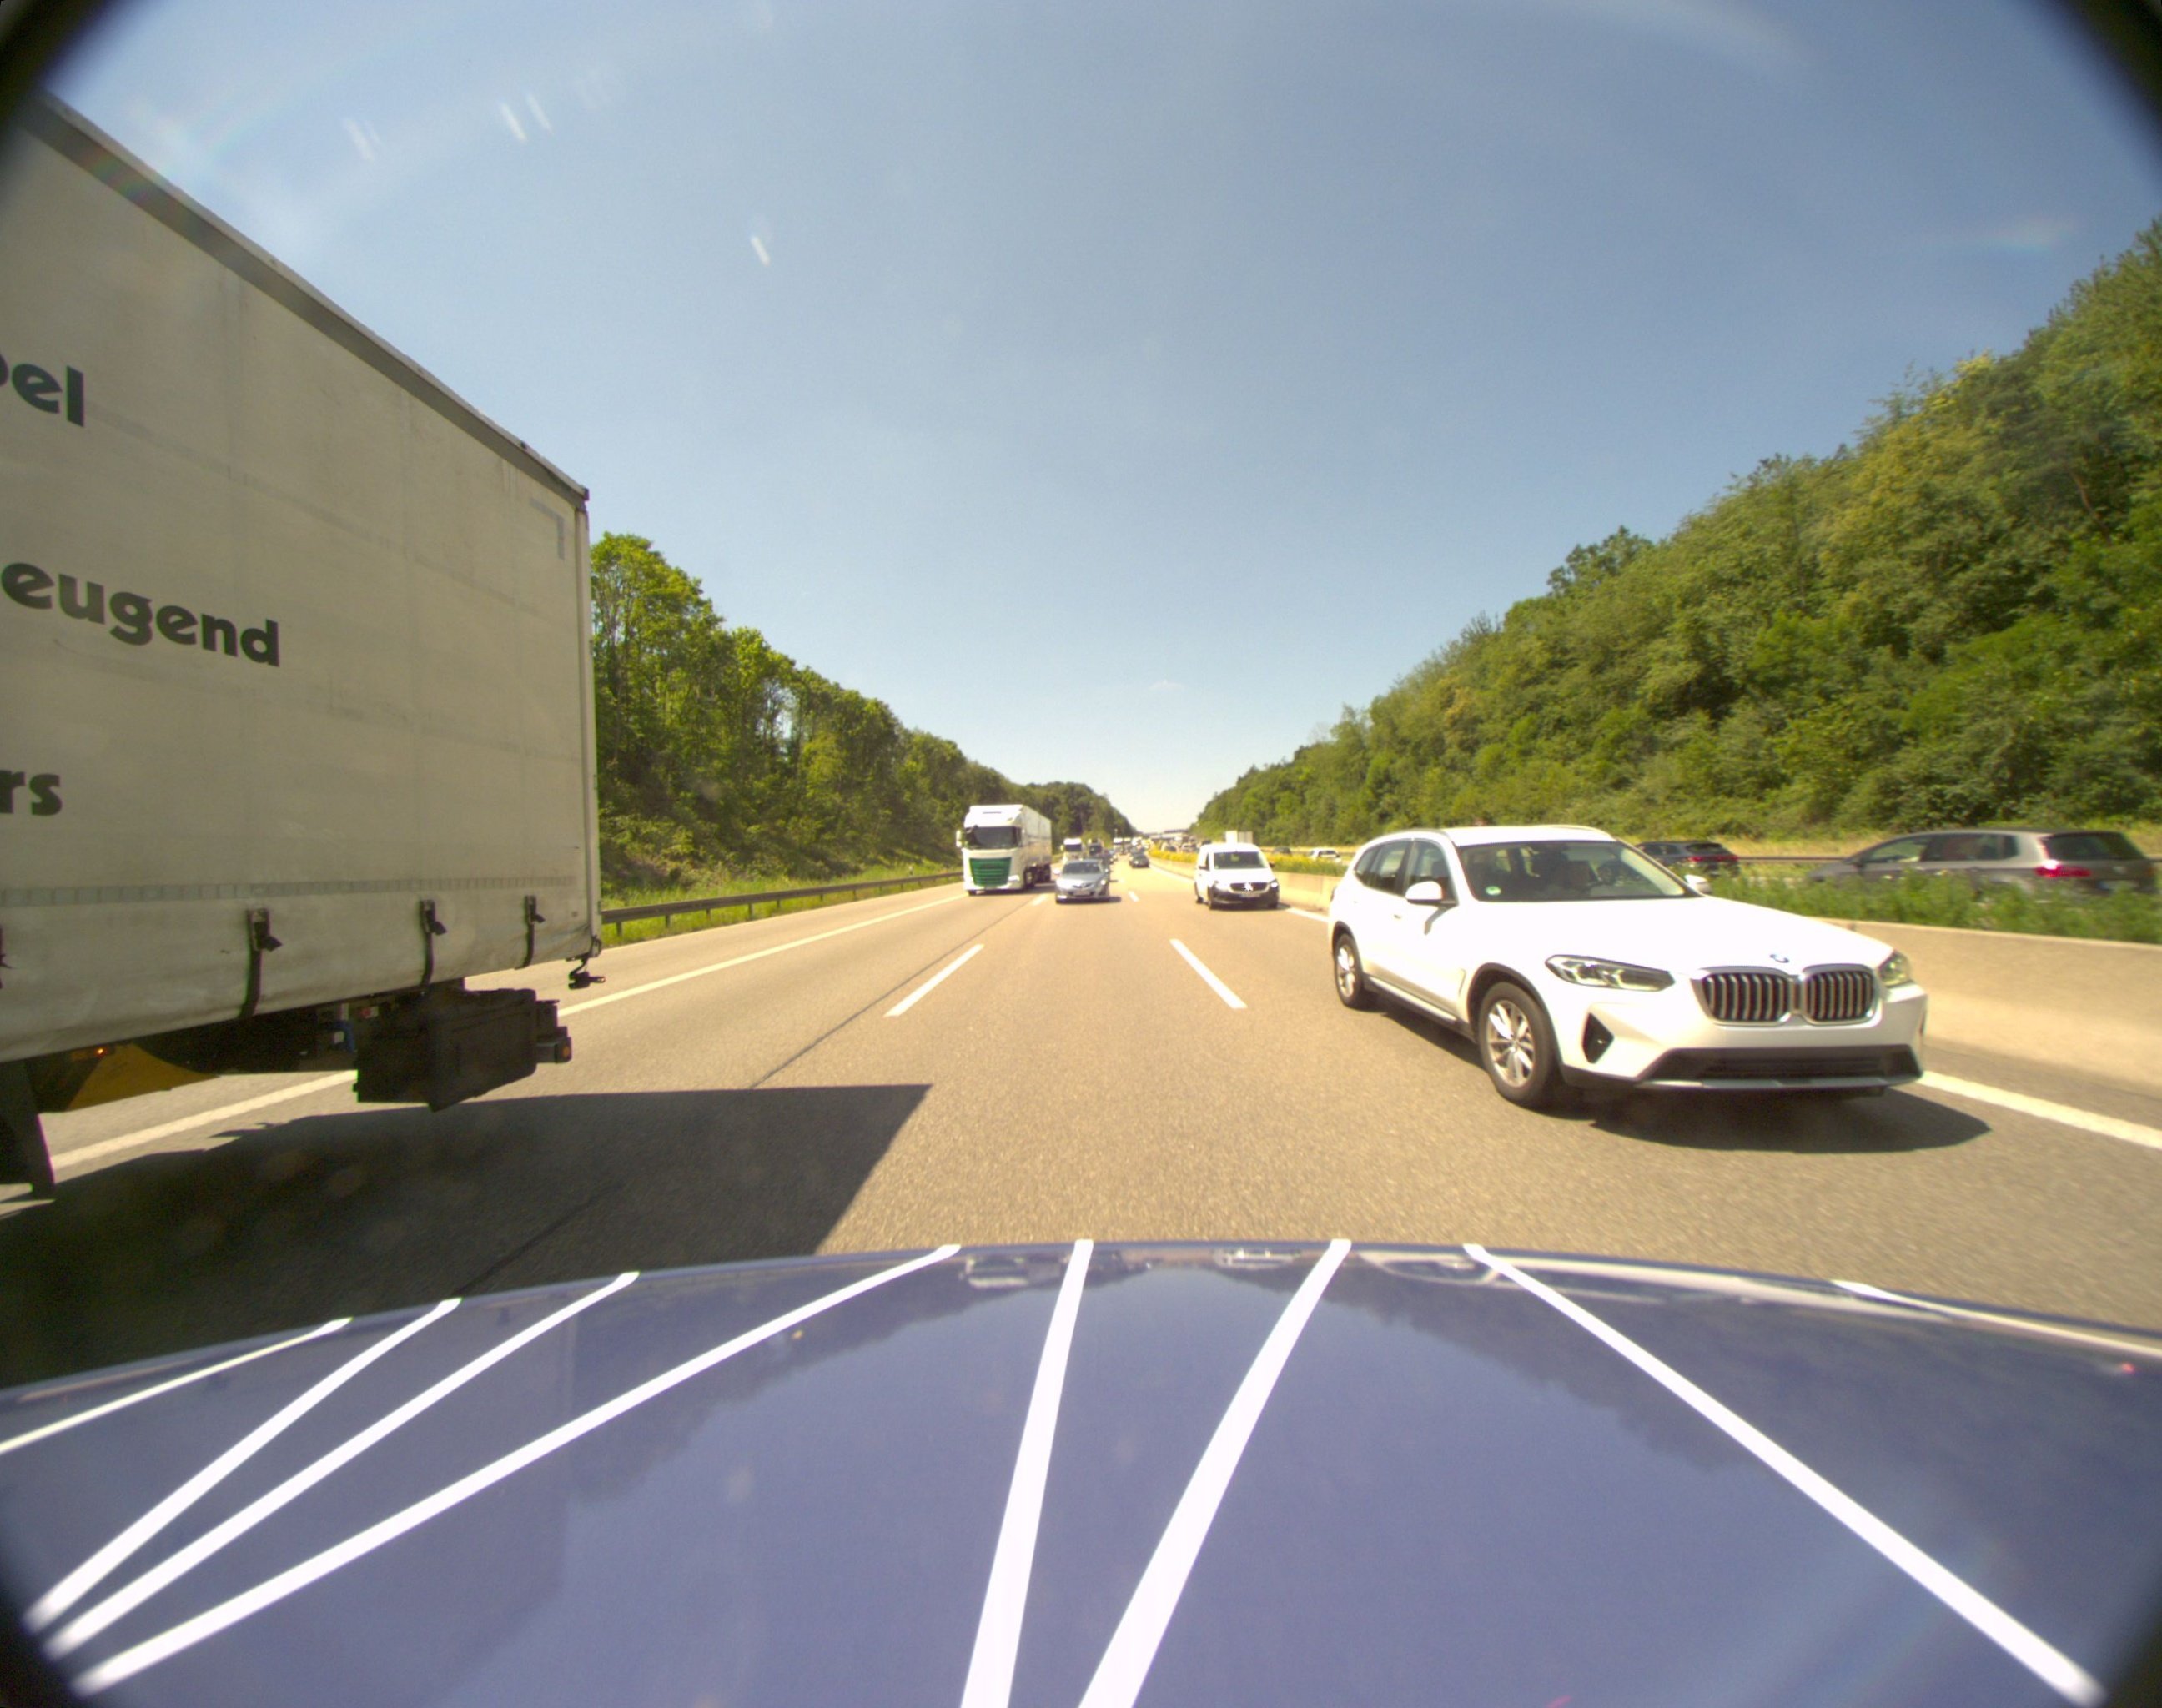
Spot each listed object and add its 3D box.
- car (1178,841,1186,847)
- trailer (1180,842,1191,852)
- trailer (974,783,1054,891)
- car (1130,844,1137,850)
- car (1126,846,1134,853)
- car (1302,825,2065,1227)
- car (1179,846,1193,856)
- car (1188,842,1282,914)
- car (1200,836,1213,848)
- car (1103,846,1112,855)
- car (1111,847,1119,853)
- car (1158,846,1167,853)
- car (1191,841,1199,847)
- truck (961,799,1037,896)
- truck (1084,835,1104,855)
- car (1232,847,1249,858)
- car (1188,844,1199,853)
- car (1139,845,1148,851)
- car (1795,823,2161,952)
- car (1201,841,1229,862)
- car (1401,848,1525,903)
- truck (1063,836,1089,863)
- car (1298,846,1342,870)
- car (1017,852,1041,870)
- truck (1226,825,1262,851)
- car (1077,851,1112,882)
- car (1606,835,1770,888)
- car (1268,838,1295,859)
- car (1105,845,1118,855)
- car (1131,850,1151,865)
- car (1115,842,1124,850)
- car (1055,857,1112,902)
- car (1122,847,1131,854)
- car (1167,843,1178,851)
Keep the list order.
[{"bbox_3d":[30.403,-2.933,229.750,1.998,1.676,4.000,-2,1,2],"label":"car"},{"bbox_3d":[23.404,-1.600,170.552,1.998,2.002,4.000,-2,1,2],"label":"trailer"},{"bbox_3d":[-3.439,-0.889,43.398,2.574,5.011,15.271,-2,1,2],"label":"trailer"},{"bbox_3d":[15.970,-2.207,232.742,1.998,1.728,4.000,-2,1,4],"label":"car"},{"bbox_3d":[13.471,-1.300,209.282,1.998,1.728,4.000,-2,1,4],"label":"car"},{"bbox_3d":[3.326,0.755,5.762,1.869,1.684,4.956,-2,0,1],"label":"car"},{"bbox_3d":[15.512,-0.458,112.410,1.602,1.500,3.360,-2,1,2],"label":"car"},{"bbox_3d":[4.252,0.621,21.742,1.769,1.802,4.674,-2,0,1],"label":"car"},{"bbox_3d":[26.222,-2.410,158.494,1.998,2.416,4.000,-2,1,2],"label":"car"},{"bbox_3d":[6.428,-0.757,182.115,1.964,2.002,4.000,-2,0,1],"label":"car"},{"bbox_3d":[8.964,-1.060,202.676,1.998,1.728,4.000,-2,1,4],"label":"car"},{"bbox_3d":[20.327,-1.162,189.791,1.998,1.676,4.000,-2,1,2],"label":"car"},{"bbox_3d":[34.050,-3.118,226.702,1.998,1.676,4.000,-2,1,2],"label":"car"},{"bbox_3d":[-3.634,-0.313,35.315,2.542,4.006,6.625,-2,1,1],"label":"truck"},{"bbox_3d":[2.522,-1.729,145.407,3.558,3.694,7.550,-2,1,2],"label":"truck"},{"bbox_3d":[22.162,-0.184,105.715,1.618,1.381,3.508,-2,0,0],"label":"car"},{"bbox_3d":[19.924,-0.985,134.410,1.602,1.375,3.360,-2,1,3],"label":"car"},{"bbox_3d":[15.993,-1.440,194.079,1.998,1.426,4.001,-2,0,3],"label":"car"},{"bbox_3d":[14.567,0.448,12.444,1.998,1.718,4.000,-2,0,1],"label":"car"},{"bbox_3d":[13.233,-0.278,75.373,1.998,2.002,4.900,-2,1,2],"label":"car"},{"bbox_3d":[11.623,0.610,23.419,1.766,1.501,4.000,-2,0,0],"label":"car"},{"bbox_3d":[-0.597,-0.659,99.950,3.263,3.337,6.862,-2,1,1],"label":"truck"},{"bbox_3d":[15.529,0.237,49.511,1.675,1.499,3.828,-2,0,1],"label":"car"},{"bbox_3d":[-4.841,0.627,71.263,1.934,1.534,3.756,-2,0,1],"label":"car"},{"bbox_3d":[28.068,-2.684,131.525,3.718,4.170,13.793,-2,1,3],"label":"truck"},{"bbox_3d":[0.840,0.729,44.927,1.887,1.695,4.085,-2,0,2],"label":"car"},{"bbox_3d":[19.092,0.236,24.154,1.998,1.499,4.000,-1,0,0],"label":"car"},{"bbox_3d":[20.434,-0.567,77.574,1.637,2.002,3.999,-2,1,1],"label":"car"},{"bbox_3d":[5.229,-0.709,130.854,1.998,1.728,4.000,-2,1,2],"label":"car"},{"bbox_3d":[6.234,0.399,78.895,1.720,1.470,4.000,-2,0,1],"label":"car"},{"bbox_3d":[11.957,-2.440,236.097,2.697,2.467,6.585,-2,1,4],"label":"car"},{"bbox_3d":[0.118,0.883,27.828,1.887,1.458,4.248,-2,0,1],"label":"car"},{"bbox_3d":[11.033,-0.873,183.142,1.998,1.728,4.000,-2,1,2],"label":"car"},{"bbox_3d":[19.009,-1.483,157.890,1.922,1.658,4.000,-2,1,1],"label":"car"}]
